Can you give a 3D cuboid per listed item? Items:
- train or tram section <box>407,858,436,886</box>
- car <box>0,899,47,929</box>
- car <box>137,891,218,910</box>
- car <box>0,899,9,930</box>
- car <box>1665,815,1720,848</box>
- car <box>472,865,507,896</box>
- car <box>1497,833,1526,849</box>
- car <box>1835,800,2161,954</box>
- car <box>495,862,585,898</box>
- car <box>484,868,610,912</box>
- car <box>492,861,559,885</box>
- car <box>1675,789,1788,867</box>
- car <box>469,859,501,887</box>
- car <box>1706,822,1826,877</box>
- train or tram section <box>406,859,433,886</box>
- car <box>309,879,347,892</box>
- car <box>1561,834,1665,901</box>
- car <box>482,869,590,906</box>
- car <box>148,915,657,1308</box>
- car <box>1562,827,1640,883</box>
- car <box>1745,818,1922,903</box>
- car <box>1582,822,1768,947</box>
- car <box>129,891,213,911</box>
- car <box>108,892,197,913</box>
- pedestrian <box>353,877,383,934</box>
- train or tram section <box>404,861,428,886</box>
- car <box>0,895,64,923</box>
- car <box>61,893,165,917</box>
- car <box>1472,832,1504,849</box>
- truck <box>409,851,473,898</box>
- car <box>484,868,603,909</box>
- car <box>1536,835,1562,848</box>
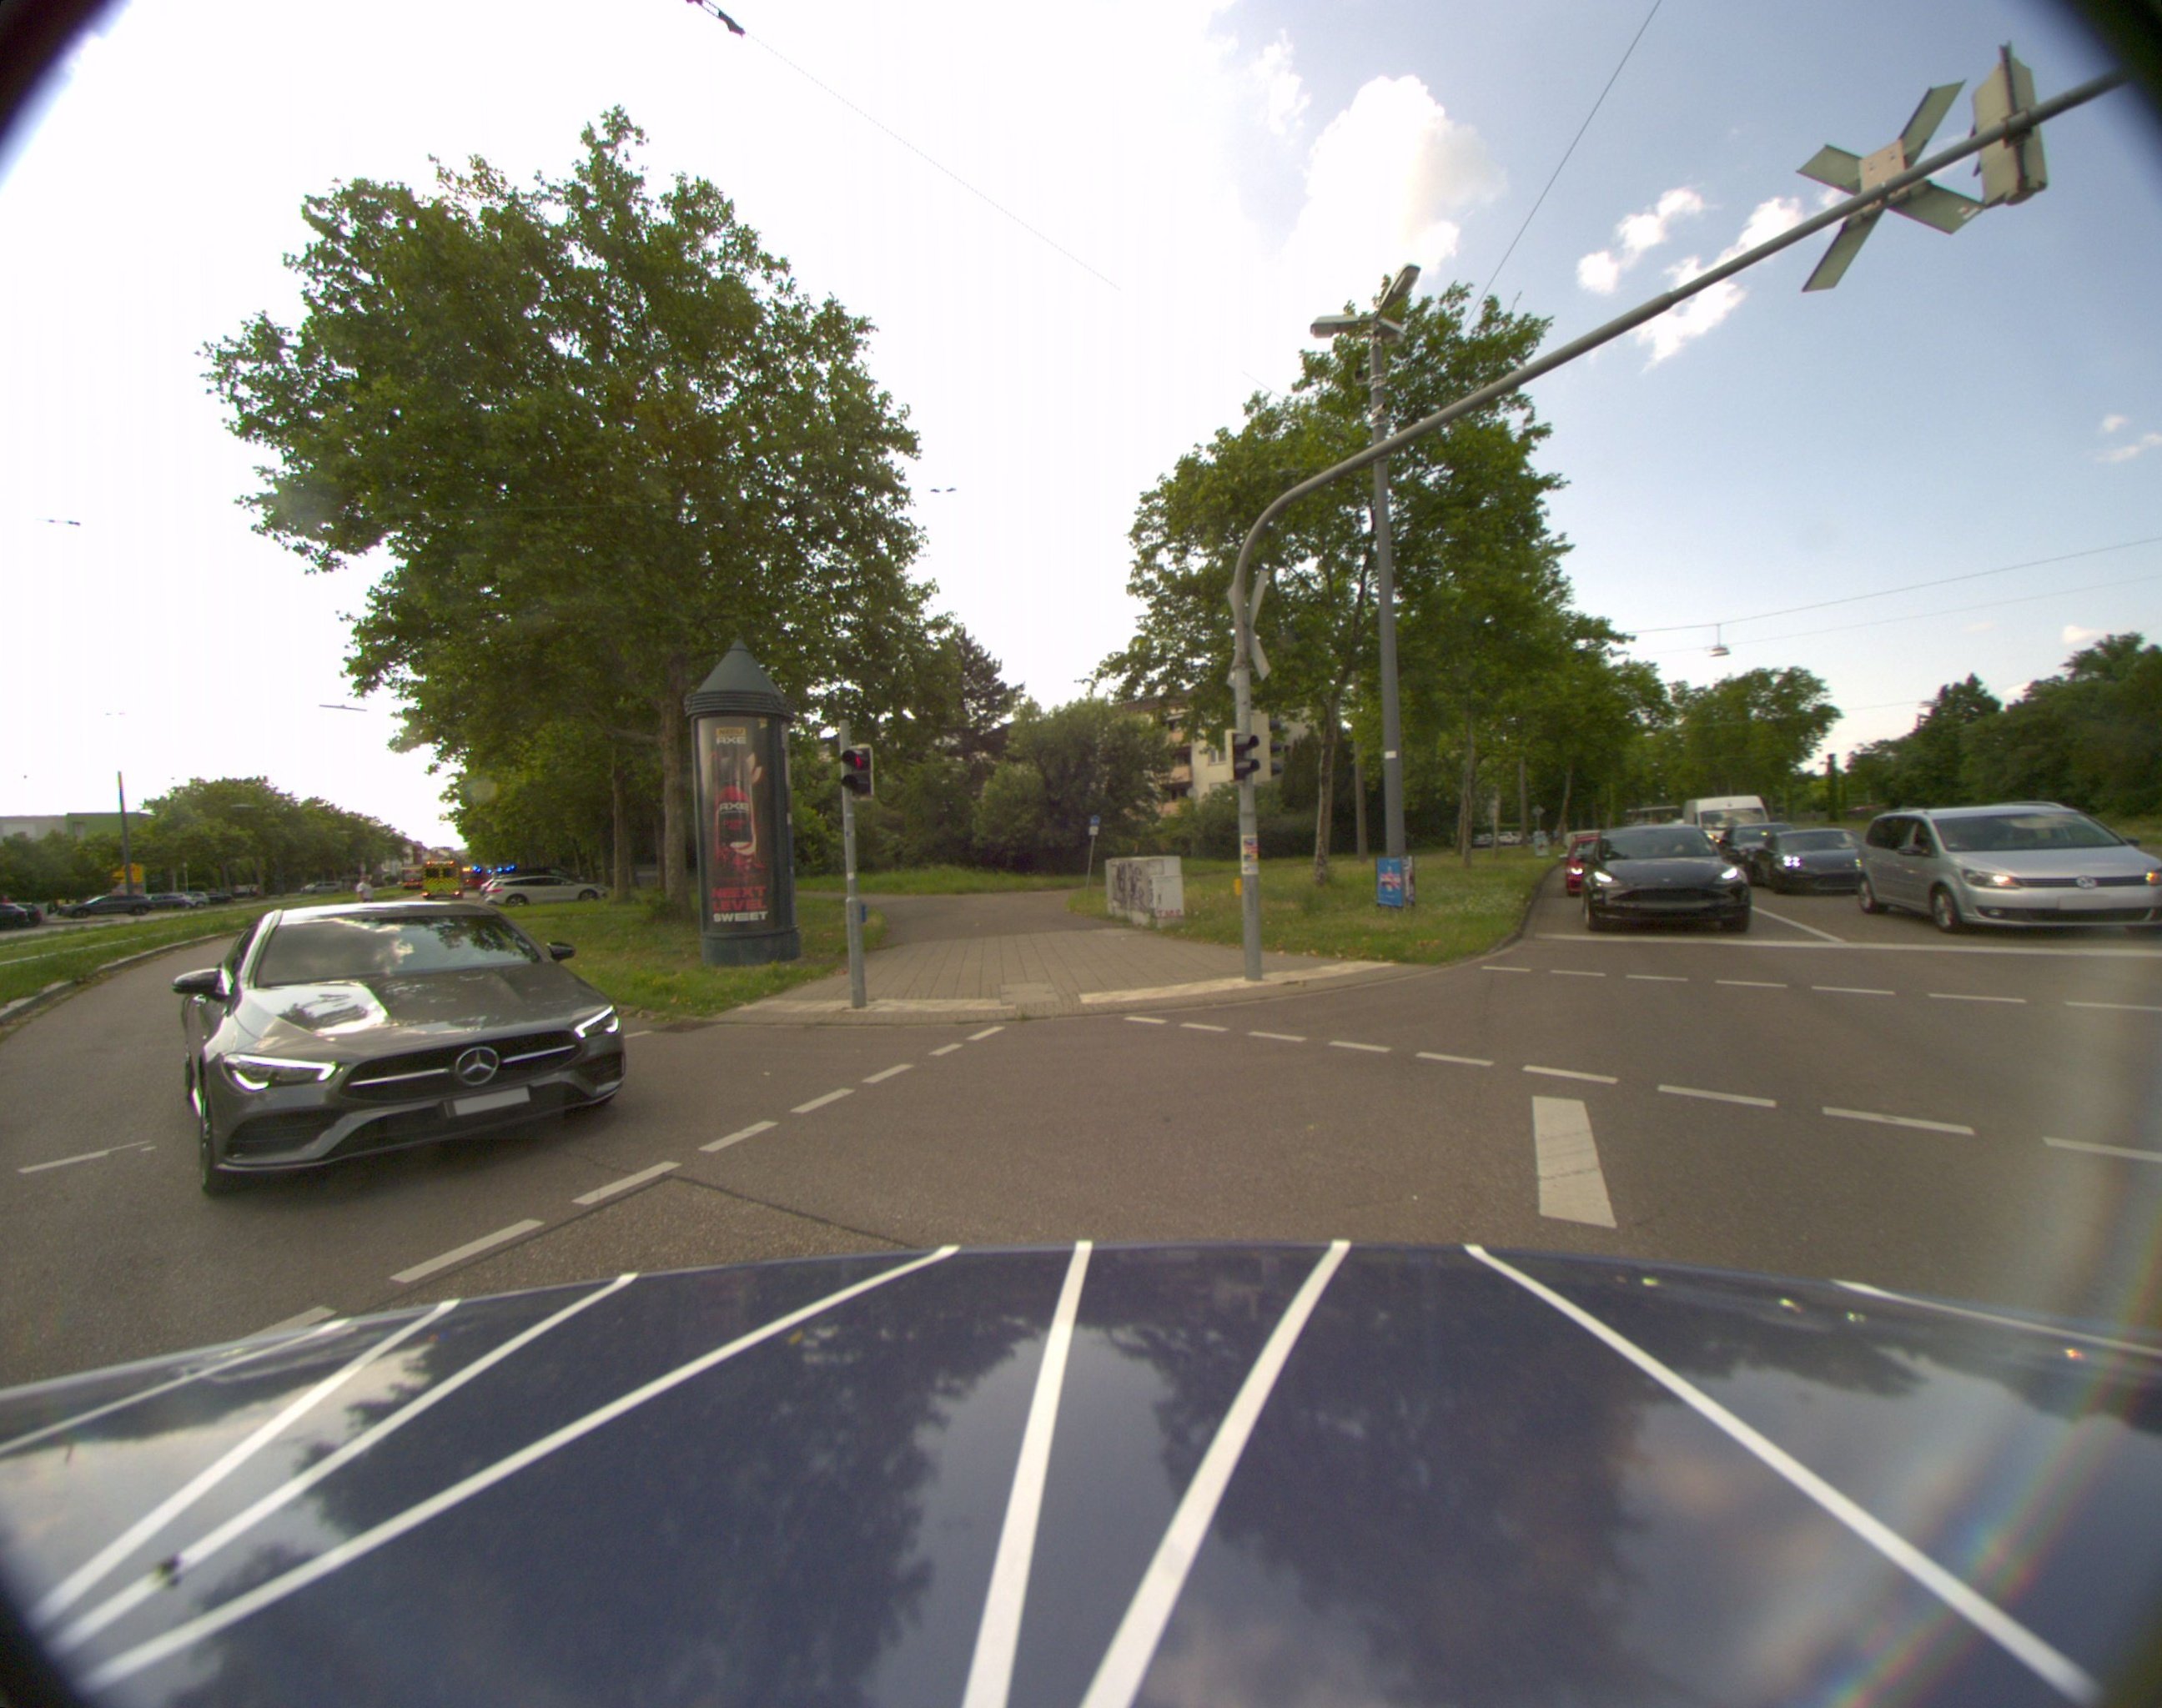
[{"bbox_3d":[-88.178,2.429,101.577,2.500,3.576,7.401,-4,1,-43],"label":"train or tram section"},{"bbox_3d":[-59.265,3.318,40.762,1.856,1.495,4.177,-2,0,26],"label":"car"},{"bbox_3d":[-79.931,4.107,67.280,1.897,1.356,4.322,-2,1,31],"label":"car"},{"bbox_3d":[-57.716,3.216,38.057,1.897,1.620,4.322,-2,0,25],"label":"car"},{"bbox_3d":[33.835,-1.266,42.123,1.760,1.637,4.351,-2,1,31],"label":"car"},{"bbox_3d":[-67.923,3.002,87.191,2.981,3.297,7.440,-1,-1,-39],"label":"car"},{"bbox_3d":[47.408,-1.422,83.648,3.664,1.586,1.772,-1,-1,-43],"label":"car"},{"bbox_3d":[12.373,0.209,10.340,1.926,1.642,4.509,-4,0,31],"label":"car"},{"bbox_3d":[-35.050,1.679,49.309,4.564,2.002,1.995,-3,1,-36],"label":"car"},{"bbox_3d":[-24.697,1.635,35.207,4.551,1.634,1.995,-3,0,-39],"label":"car"},{"bbox_3d":[-80.949,2.777,110.813,7.474,3.310,2.967,-1,-1,-42],"label":"car"},{"bbox_3d":[24.545,-0.983,28.941,2.222,2.515,5.943,-4,0,31],"label":"car"},{"bbox_3d":[-76.331,2.443,97.285,2.981,3.310,7.440,-1,-1,-39],"label":"car"},{"bbox_3d":[19.851,-0.174,22.228,1.760,1.367,4.351,-4,0,31],"label":"car"},{"bbox_3d":[-93.177,2.643,107.002,2.500,3.576,7.401,-4,1,-43],"label":"train or tram section"},{"bbox_3d":[-123.644,5.168,124.866,1.818,1.827,4.007,-2,-1,21],"label":"car"},{"bbox_3d":[13.293,0.278,19.222,1.798,1.383,4.509,-4,0,31],"label":"car"},{"bbox_3d":[-29.541,1.775,41.253,4.551,1.634,1.995,-3,0,-39],"label":"car"},{"bbox_3d":[-4.914,1.216,5.236,4.593,1.385,1.845,-3,-1,39],"label":"car"},{"bbox_3d":[17.038,-0.016,25.083,1.798,1.560,4.509,-4,0,31],"label":"car"},{"bbox_3d":[15.671,0.079,16.073,1.800,1.499,4.007,-4,0,33],"label":"car"},{"bbox_3d":[9.444,0.374,12.463,1.927,1.642,4.588,-4,0,33],"label":"car"},{"bbox_3d":[-78.196,4.031,65.355,1.897,1.356,4.322,-2,1,31],"label":"car"},{"bbox_3d":[-76.390,3.943,62.569,1.897,1.356,4.322,-2,1,31],"label":"car"},{"bbox_3d":[-21.812,1.566,23.262,0.588,1.674,0.493,-3,1,-40],"label":"pedestrian"},{"bbox_3d":[-103.184,3.009,117.873,2.500,3.576,7.401,-4,1,-43],"label":"train or tram section"},{"bbox_3d":[-63.799,3.311,44.932,1.856,1.495,4.178,-2,0,31],"label":"car"},{"bbox_3d":[-69.681,3.641,54.785,1.897,1.356,4.322,-2,1,29],"label":"car"},{"bbox_3d":[41.244,-1.365,76.974,3.664,1.586,1.772,-1,-1,-43],"label":"car"},{"bbox_3d":[-50.242,1.579,59.834,3.199,3.298,7.503,-3,1,-36],"label":"truck"},{"bbox_3d":[-26.298,1.646,37.229,4.551,1.634,1.995,-3,0,-39],"label":"car"},{"bbox_3d":[58.295,-1.537,94.598,3.664,1.586,1.772,-1,-1,-43],"label":"car"}]
